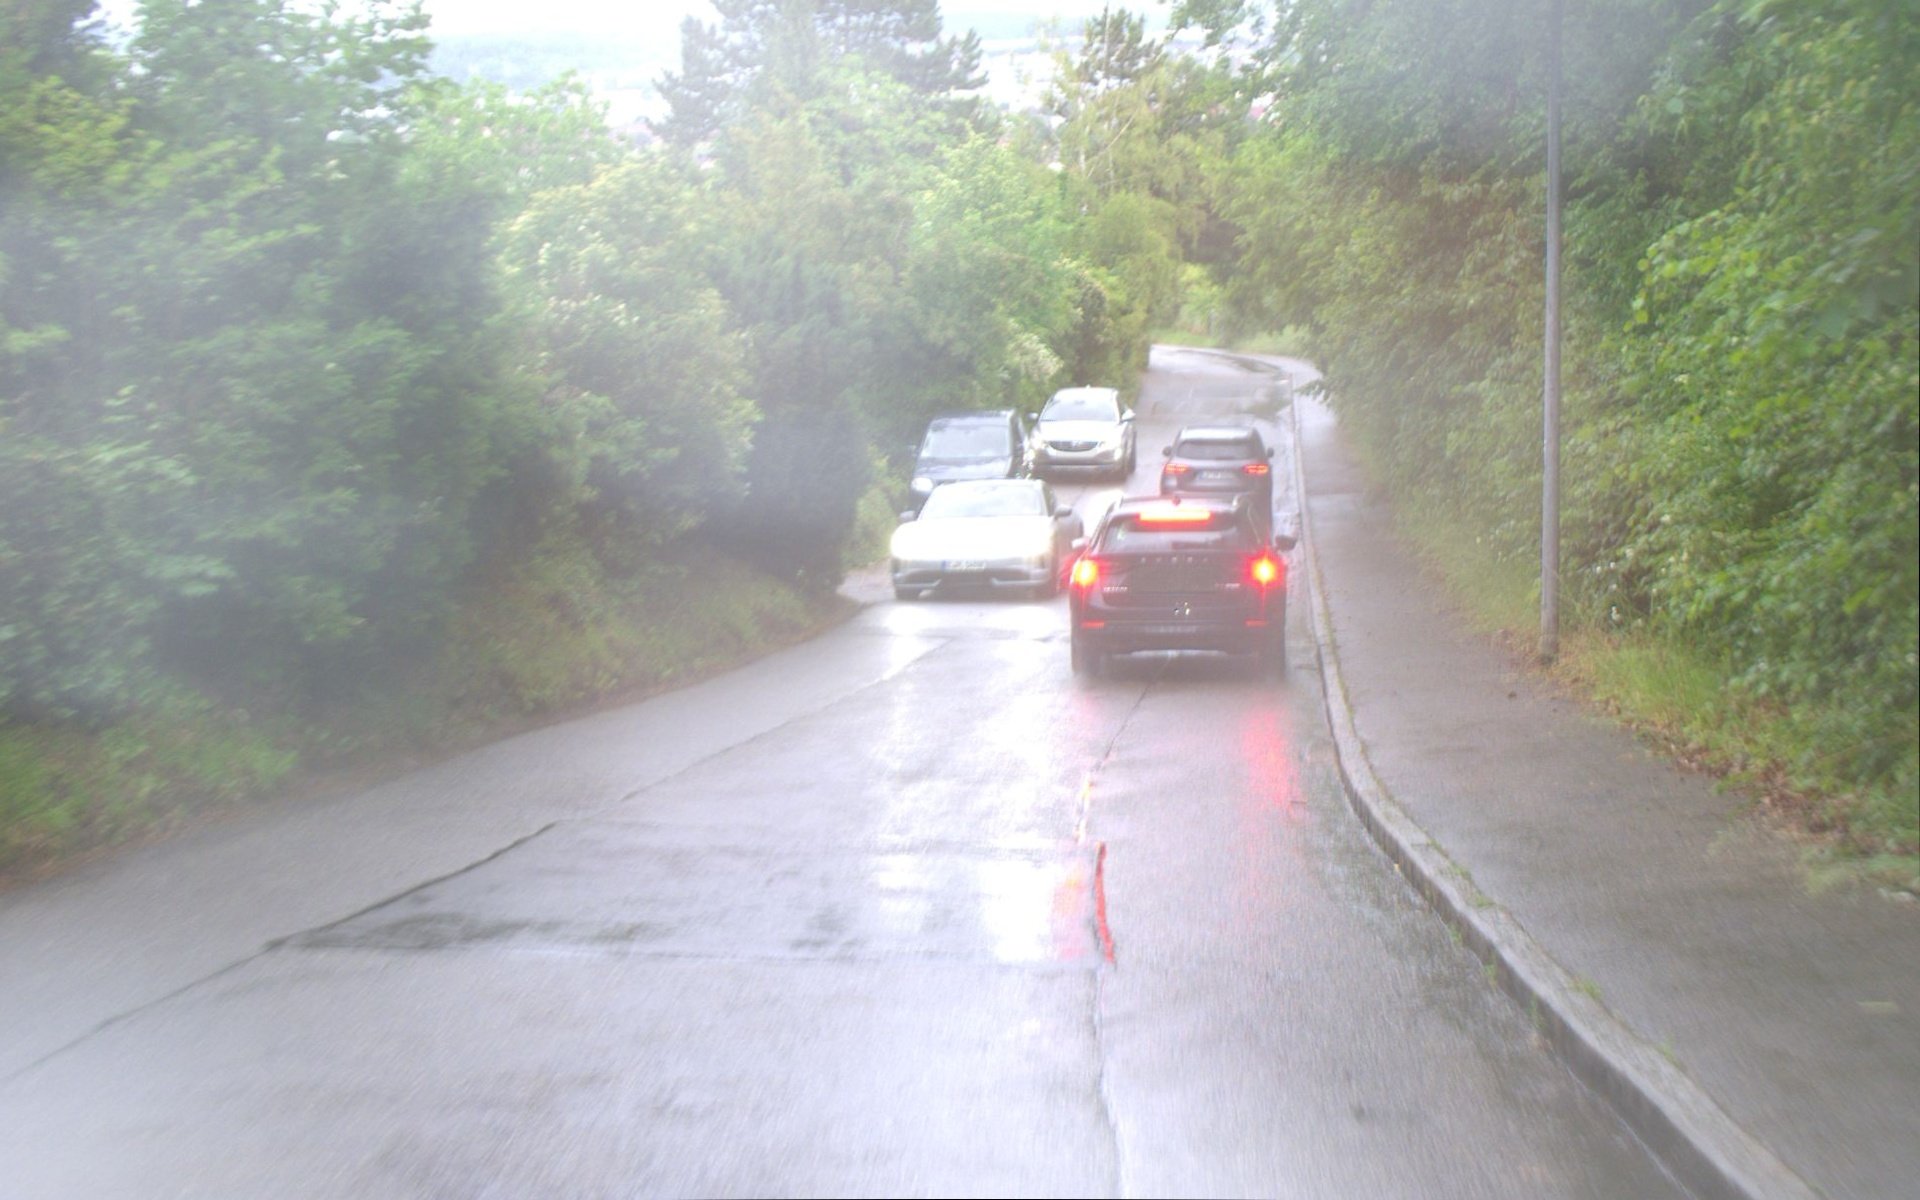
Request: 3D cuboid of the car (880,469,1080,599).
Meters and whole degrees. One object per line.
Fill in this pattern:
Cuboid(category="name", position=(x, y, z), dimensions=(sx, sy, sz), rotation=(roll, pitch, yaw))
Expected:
Cuboid(category="car", position=(0.311, -0.808, 42.664), dimensions=(1.941, 1.517, 4.578), rotation=(0, 1, 7))

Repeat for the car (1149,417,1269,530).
Cuboid(category="car", position=(4.041, -2.018, 55.656), dimensions=(1.863, 1.737, 3.999), rotation=(0, 1, 4))

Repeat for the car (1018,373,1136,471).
Cuboid(category="car", position=(2.297, -3.469, 66.420), dimensions=(2.048, 1.595, 4.230), rotation=(2, 6, 4))

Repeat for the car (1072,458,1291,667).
Cuboid(category="car", position=(1.815, -0.374, 29.033), dimensions=(1.699, 1.445, 4.001), rotation=(-1, 5, 2))

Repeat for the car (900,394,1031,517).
Cuboid(category="car", position=(0.133, -2.410, 56.608), dimensions=(1.690, 1.776, 4.233), rotation=(-1, 5, 6))
